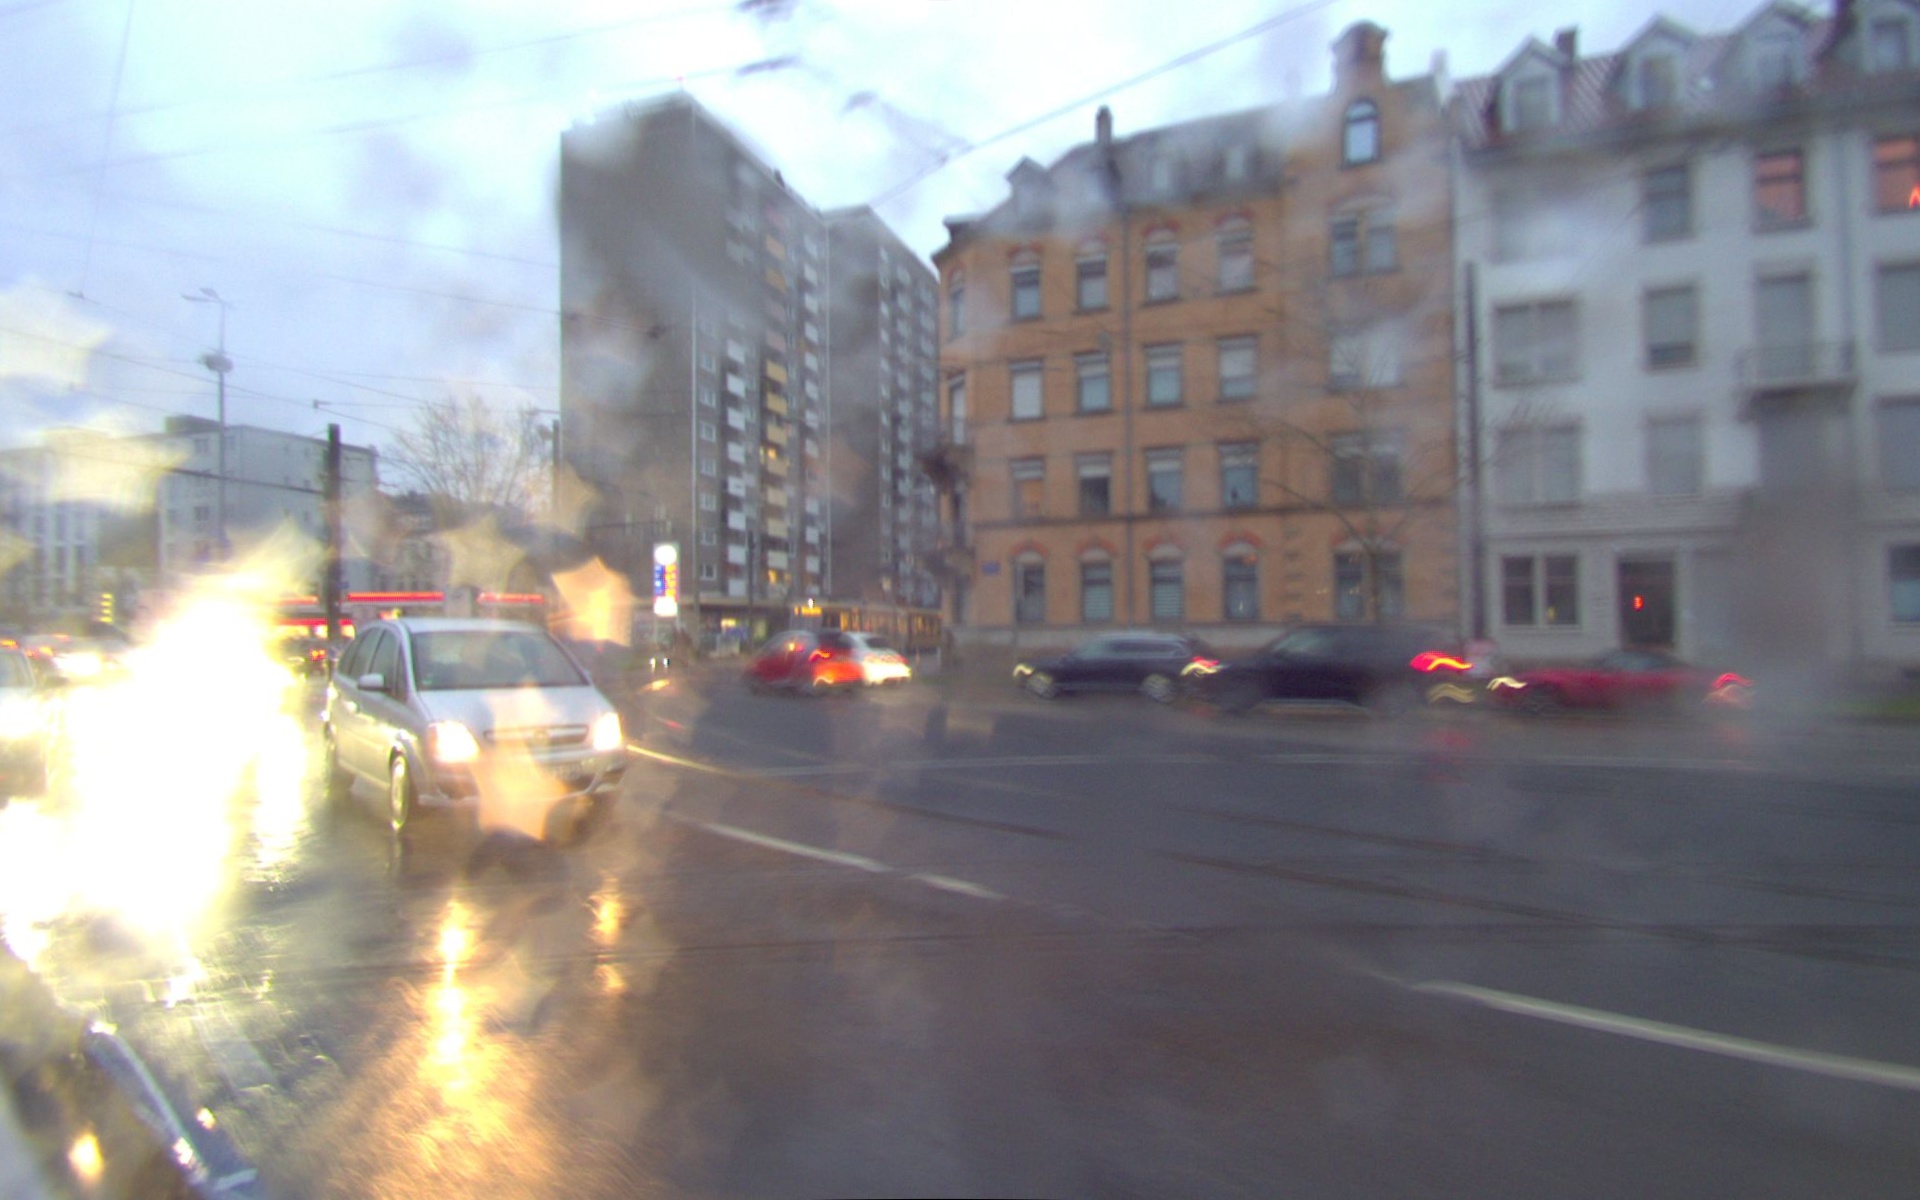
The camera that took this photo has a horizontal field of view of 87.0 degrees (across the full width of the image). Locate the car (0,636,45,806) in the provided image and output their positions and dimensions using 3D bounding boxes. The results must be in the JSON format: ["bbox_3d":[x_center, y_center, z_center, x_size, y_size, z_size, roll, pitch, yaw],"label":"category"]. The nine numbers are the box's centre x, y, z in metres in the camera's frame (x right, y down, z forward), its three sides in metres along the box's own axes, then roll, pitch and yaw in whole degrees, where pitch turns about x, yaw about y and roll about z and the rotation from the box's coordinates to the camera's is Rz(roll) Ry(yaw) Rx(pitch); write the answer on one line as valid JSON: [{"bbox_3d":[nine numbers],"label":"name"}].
[{"bbox_3d":[-10.943,1.216,10.759,1.624,1.596,3.811,0,-1,-40],"label":"car"}]

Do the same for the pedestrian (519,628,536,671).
[{"bbox_3d":[-18.370,2.087,42.991,0.629,1.785,0.462,-2,-2,43],"label":"pedestrian"}]

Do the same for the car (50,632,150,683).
[{"bbox_3d":[-31.408,2.092,36.929,4.177,1.756,1.798,-2,-3,36],"label":"car"}]

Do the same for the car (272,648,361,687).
[{"bbox_3d":[-25.954,2.681,40.782,4.054,1.468,1.665,-2,-2,36],"label":"car"}]

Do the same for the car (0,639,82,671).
[{"bbox_3d":[-58.658,3.515,64.585,4.823,1.961,1.984,-1,-4,23],"label":"car"}]

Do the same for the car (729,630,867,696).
[{"bbox_3d":[-3.914,1.477,24.338,3.145,1.498,1.474,-2,-2,35],"label":"car"}]

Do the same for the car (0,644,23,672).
[{"bbox_3d":[-57.970,3.458,60.286,4.635,1.643,1.636,-2,-3,27],"label":"car"}]

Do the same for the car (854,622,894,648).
[{"bbox_3d":[-6.940,2.851,82.061,1.982,2.029,3.978,-1,-2,16],"label":"car"}]

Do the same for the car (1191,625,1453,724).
[{"bbox_3d":[6.303,1.249,17.701,4.103,1.565,1.669,-2,-2,29],"label":"car"}]

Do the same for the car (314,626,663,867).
[{"bbox_3d":[-4.237,1.031,8.720,1.625,1.560,4.115,1,-2,-41],"label":"car"}]

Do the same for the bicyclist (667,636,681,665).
[{"bbox_3d":[-14.292,2.517,50.607,0.498,1.401,0.970,-1,-2,-6],"label":"bicyclist"}]

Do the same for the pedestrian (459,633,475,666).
[{"bbox_3d":[-27.487,2.732,56.407,0.526,1.806,0.626,-2,-2,9],"label":"pedestrian"}]

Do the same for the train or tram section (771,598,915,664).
[{"bbox_3d":[-6.186,1.614,58.037,3.137,3.212,16.245,-1,-1,12],"label":"train or tram section"}]

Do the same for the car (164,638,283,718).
[{"bbox_3d":[-15.904,1.623,21.778,1.726,1.556,4.006,2,-4,-41],"label":"car"}]

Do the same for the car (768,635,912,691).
[{"bbox_3d":[-3.226,1.663,27.118,3.601,1.402,1.667,-2,-2,32],"label":"car"}]

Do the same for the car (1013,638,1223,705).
[{"bbox_3d":[3.520,1.562,22.745,4.367,1.364,1.669,-2,-2,28],"label":"car"}]

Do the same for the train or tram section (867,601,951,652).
[{"bbox_3d":[-3.368,1.780,71.412,3.137,3.262,11.108,-1,-1,12],"label":"train or tram section"}]

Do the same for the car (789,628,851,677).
[{"bbox_3d":[-4.697,1.756,34.528,1.661,1.537,4.229,-1,-2,-2],"label":"car"}]

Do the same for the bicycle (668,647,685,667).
[{"bbox_3d":[-14.098,2.819,50.343,0.498,0.907,1.987,-1,-1,-6],"label":"bicycle"}]

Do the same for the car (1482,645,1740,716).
[{"bbox_3d":[11.644,1.418,18.422,3.771,1.142,1.590,-2,-2,28],"label":"car"}]
